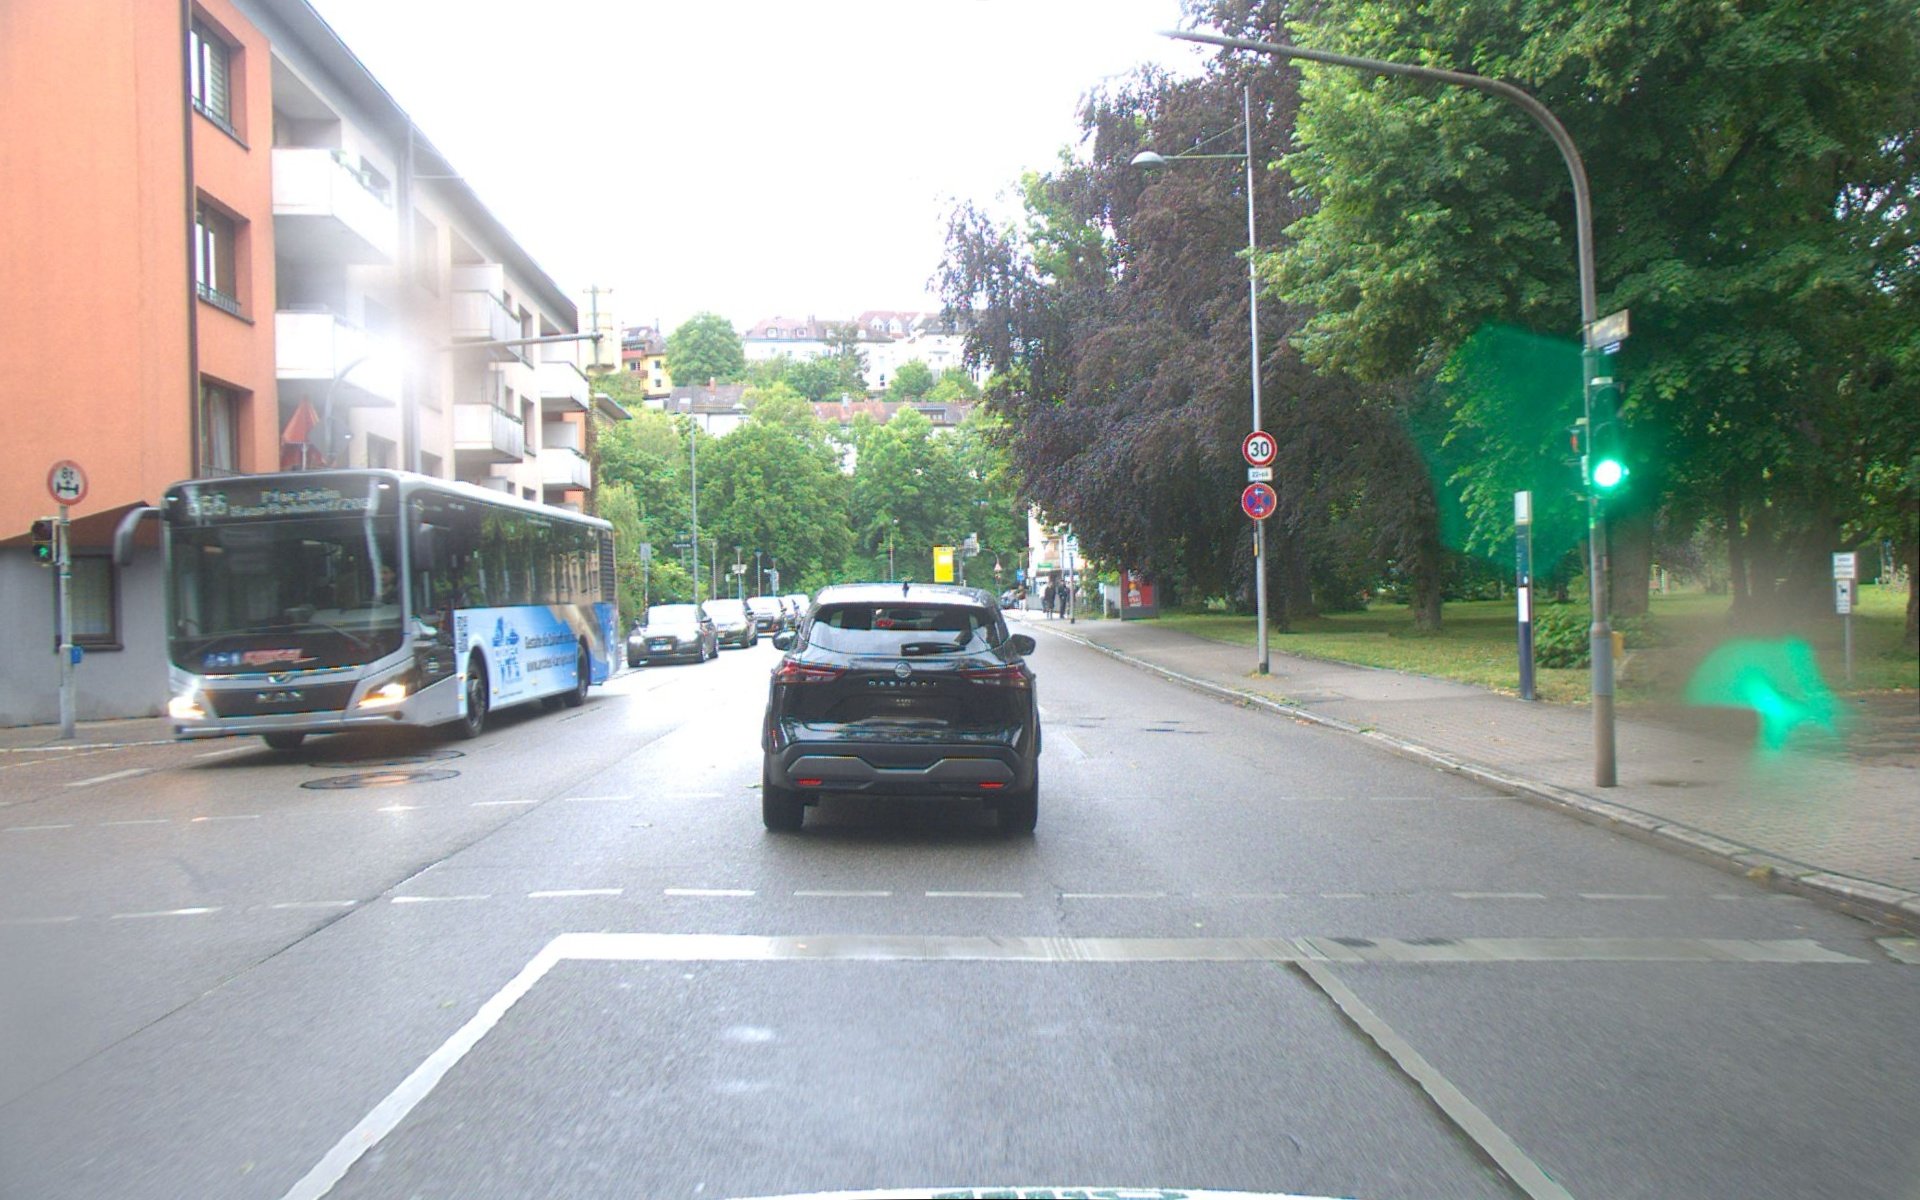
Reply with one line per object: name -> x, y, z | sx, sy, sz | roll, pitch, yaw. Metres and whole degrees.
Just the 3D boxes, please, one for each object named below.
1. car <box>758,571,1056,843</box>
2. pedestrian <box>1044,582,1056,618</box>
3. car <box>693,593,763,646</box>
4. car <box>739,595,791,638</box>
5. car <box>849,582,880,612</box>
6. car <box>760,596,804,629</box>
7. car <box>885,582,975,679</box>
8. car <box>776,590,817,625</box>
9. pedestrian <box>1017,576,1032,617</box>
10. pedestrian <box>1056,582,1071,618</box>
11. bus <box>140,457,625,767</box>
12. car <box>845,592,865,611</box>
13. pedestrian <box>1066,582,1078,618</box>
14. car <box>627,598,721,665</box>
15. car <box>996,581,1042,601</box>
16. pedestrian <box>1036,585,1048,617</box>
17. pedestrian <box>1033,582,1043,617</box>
car -> -0.371, 0.664, 11.952 | 1.770, 1.618, 3.998 | 1, -1, -2
pedestrian -> 4.321, -0.001, 79.389 | 0.533, 1.680, 0.490 | 1, -1, 3
car -> -7.146, 0.577, 51.324 | 1.712, 1.495, 4.215 | -3, 0, -3
car -> -7.440, 0.601, 63.411 | 1.643, 1.495, 4.215 | -3, 0, -3
car -> -6.025, -0.176, 104.634 | 1.728, 1.788, 3.633 | -2, 0, -1
car -> -7.840, 0.530, 73.038 | 1.643, 1.318, 3.749 | -3, 0, -3
car -> -0.550, 0.558, 32.394 | 1.588, 1.738, 3.770 | -2, 0, 0
car -> -8.211, 0.352, 83.354 | 1.715, 1.662, 3.633 | -2, 0, -1
pedestrian -> 3.537, -0.199, 90.555 | 0.752, 2.222, 0.711 | 1, -1, 1
pedestrian -> 4.971, 0.009, 79.451 | 0.684, 1.680, 0.628 | 1, -1, 3
bus -> -6.978, 0.135, 22.482 | 2.711, 3.026, 11.777 | -2, 0, -2
car -> -8.936, 0.144, 140.788 | 1.684, 1.494, 3.683 | -2, 0, -3
pedestrian -> 5.265, -0.017, 77.824 | 0.504, 1.684, 0.550 | 1, -1, -2
car -> -7.118, 0.749, 41.537 | 1.740, 1.495, 4.215 | -3, 0, -3
car -> 5.460, -0.811, 153.694 | 3.917, 1.713, 1.994 | -2, 0, -12
pedestrian -> 4.707, 0.057, 95.120 | 0.606, 1.810, 0.778 | -2, 0, -2
pedestrian -> 3.740, -0.011, 79.254 | 0.465, 1.680, 0.490 | 1, -1, 3
